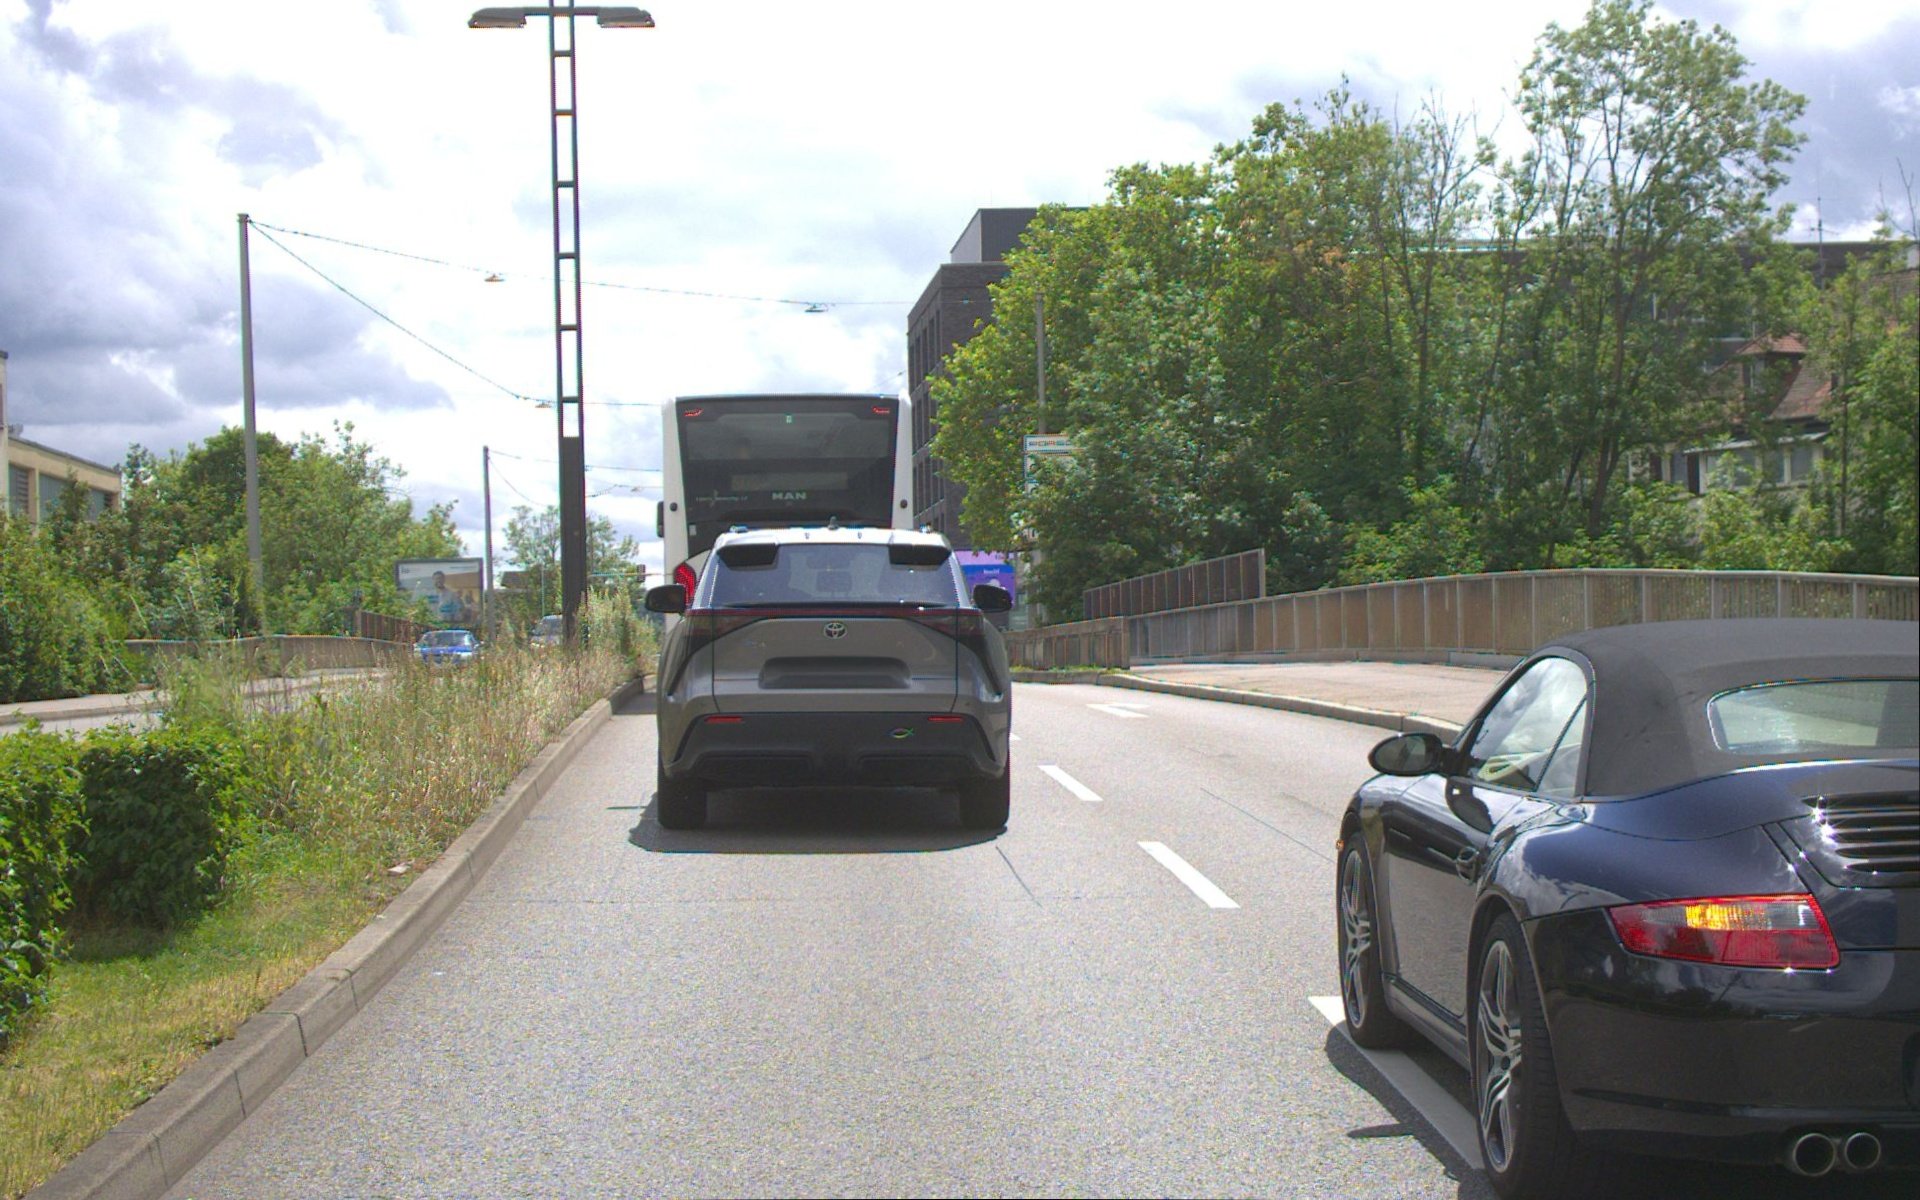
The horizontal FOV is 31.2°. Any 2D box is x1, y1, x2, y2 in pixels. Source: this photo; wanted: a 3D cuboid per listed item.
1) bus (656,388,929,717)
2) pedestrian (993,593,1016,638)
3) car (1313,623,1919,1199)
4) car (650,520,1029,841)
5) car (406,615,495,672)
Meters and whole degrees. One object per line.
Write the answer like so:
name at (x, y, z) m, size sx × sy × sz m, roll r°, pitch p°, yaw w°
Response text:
bus at (-1.903, -0.656, 40.152) m, size 2.689 × 3.244 × 12.059 m, roll 0°, pitch 2°, yaw -2°
pedestrian at (1.711, 0.601, 131.203) m, size 0.680 × 1.691 × 0.597 m, roll -2°, pitch -2°, yaw 22°
car at (2.008, 0.736, 8.695) m, size 1.719 × 1.271 × 4.088 m, roll 0°, pitch 1°, yaw -1°
car at (-0.670, 0.380, 19.197) m, size 1.879 × 1.588 × 4.230 m, roll 0°, pitch 1°, yaw -2°
car at (-12.613, 1.076, 85.313) m, size 1.754 × 1.271 × 4.000 m, roll -4°, pitch 0°, yaw -3°
